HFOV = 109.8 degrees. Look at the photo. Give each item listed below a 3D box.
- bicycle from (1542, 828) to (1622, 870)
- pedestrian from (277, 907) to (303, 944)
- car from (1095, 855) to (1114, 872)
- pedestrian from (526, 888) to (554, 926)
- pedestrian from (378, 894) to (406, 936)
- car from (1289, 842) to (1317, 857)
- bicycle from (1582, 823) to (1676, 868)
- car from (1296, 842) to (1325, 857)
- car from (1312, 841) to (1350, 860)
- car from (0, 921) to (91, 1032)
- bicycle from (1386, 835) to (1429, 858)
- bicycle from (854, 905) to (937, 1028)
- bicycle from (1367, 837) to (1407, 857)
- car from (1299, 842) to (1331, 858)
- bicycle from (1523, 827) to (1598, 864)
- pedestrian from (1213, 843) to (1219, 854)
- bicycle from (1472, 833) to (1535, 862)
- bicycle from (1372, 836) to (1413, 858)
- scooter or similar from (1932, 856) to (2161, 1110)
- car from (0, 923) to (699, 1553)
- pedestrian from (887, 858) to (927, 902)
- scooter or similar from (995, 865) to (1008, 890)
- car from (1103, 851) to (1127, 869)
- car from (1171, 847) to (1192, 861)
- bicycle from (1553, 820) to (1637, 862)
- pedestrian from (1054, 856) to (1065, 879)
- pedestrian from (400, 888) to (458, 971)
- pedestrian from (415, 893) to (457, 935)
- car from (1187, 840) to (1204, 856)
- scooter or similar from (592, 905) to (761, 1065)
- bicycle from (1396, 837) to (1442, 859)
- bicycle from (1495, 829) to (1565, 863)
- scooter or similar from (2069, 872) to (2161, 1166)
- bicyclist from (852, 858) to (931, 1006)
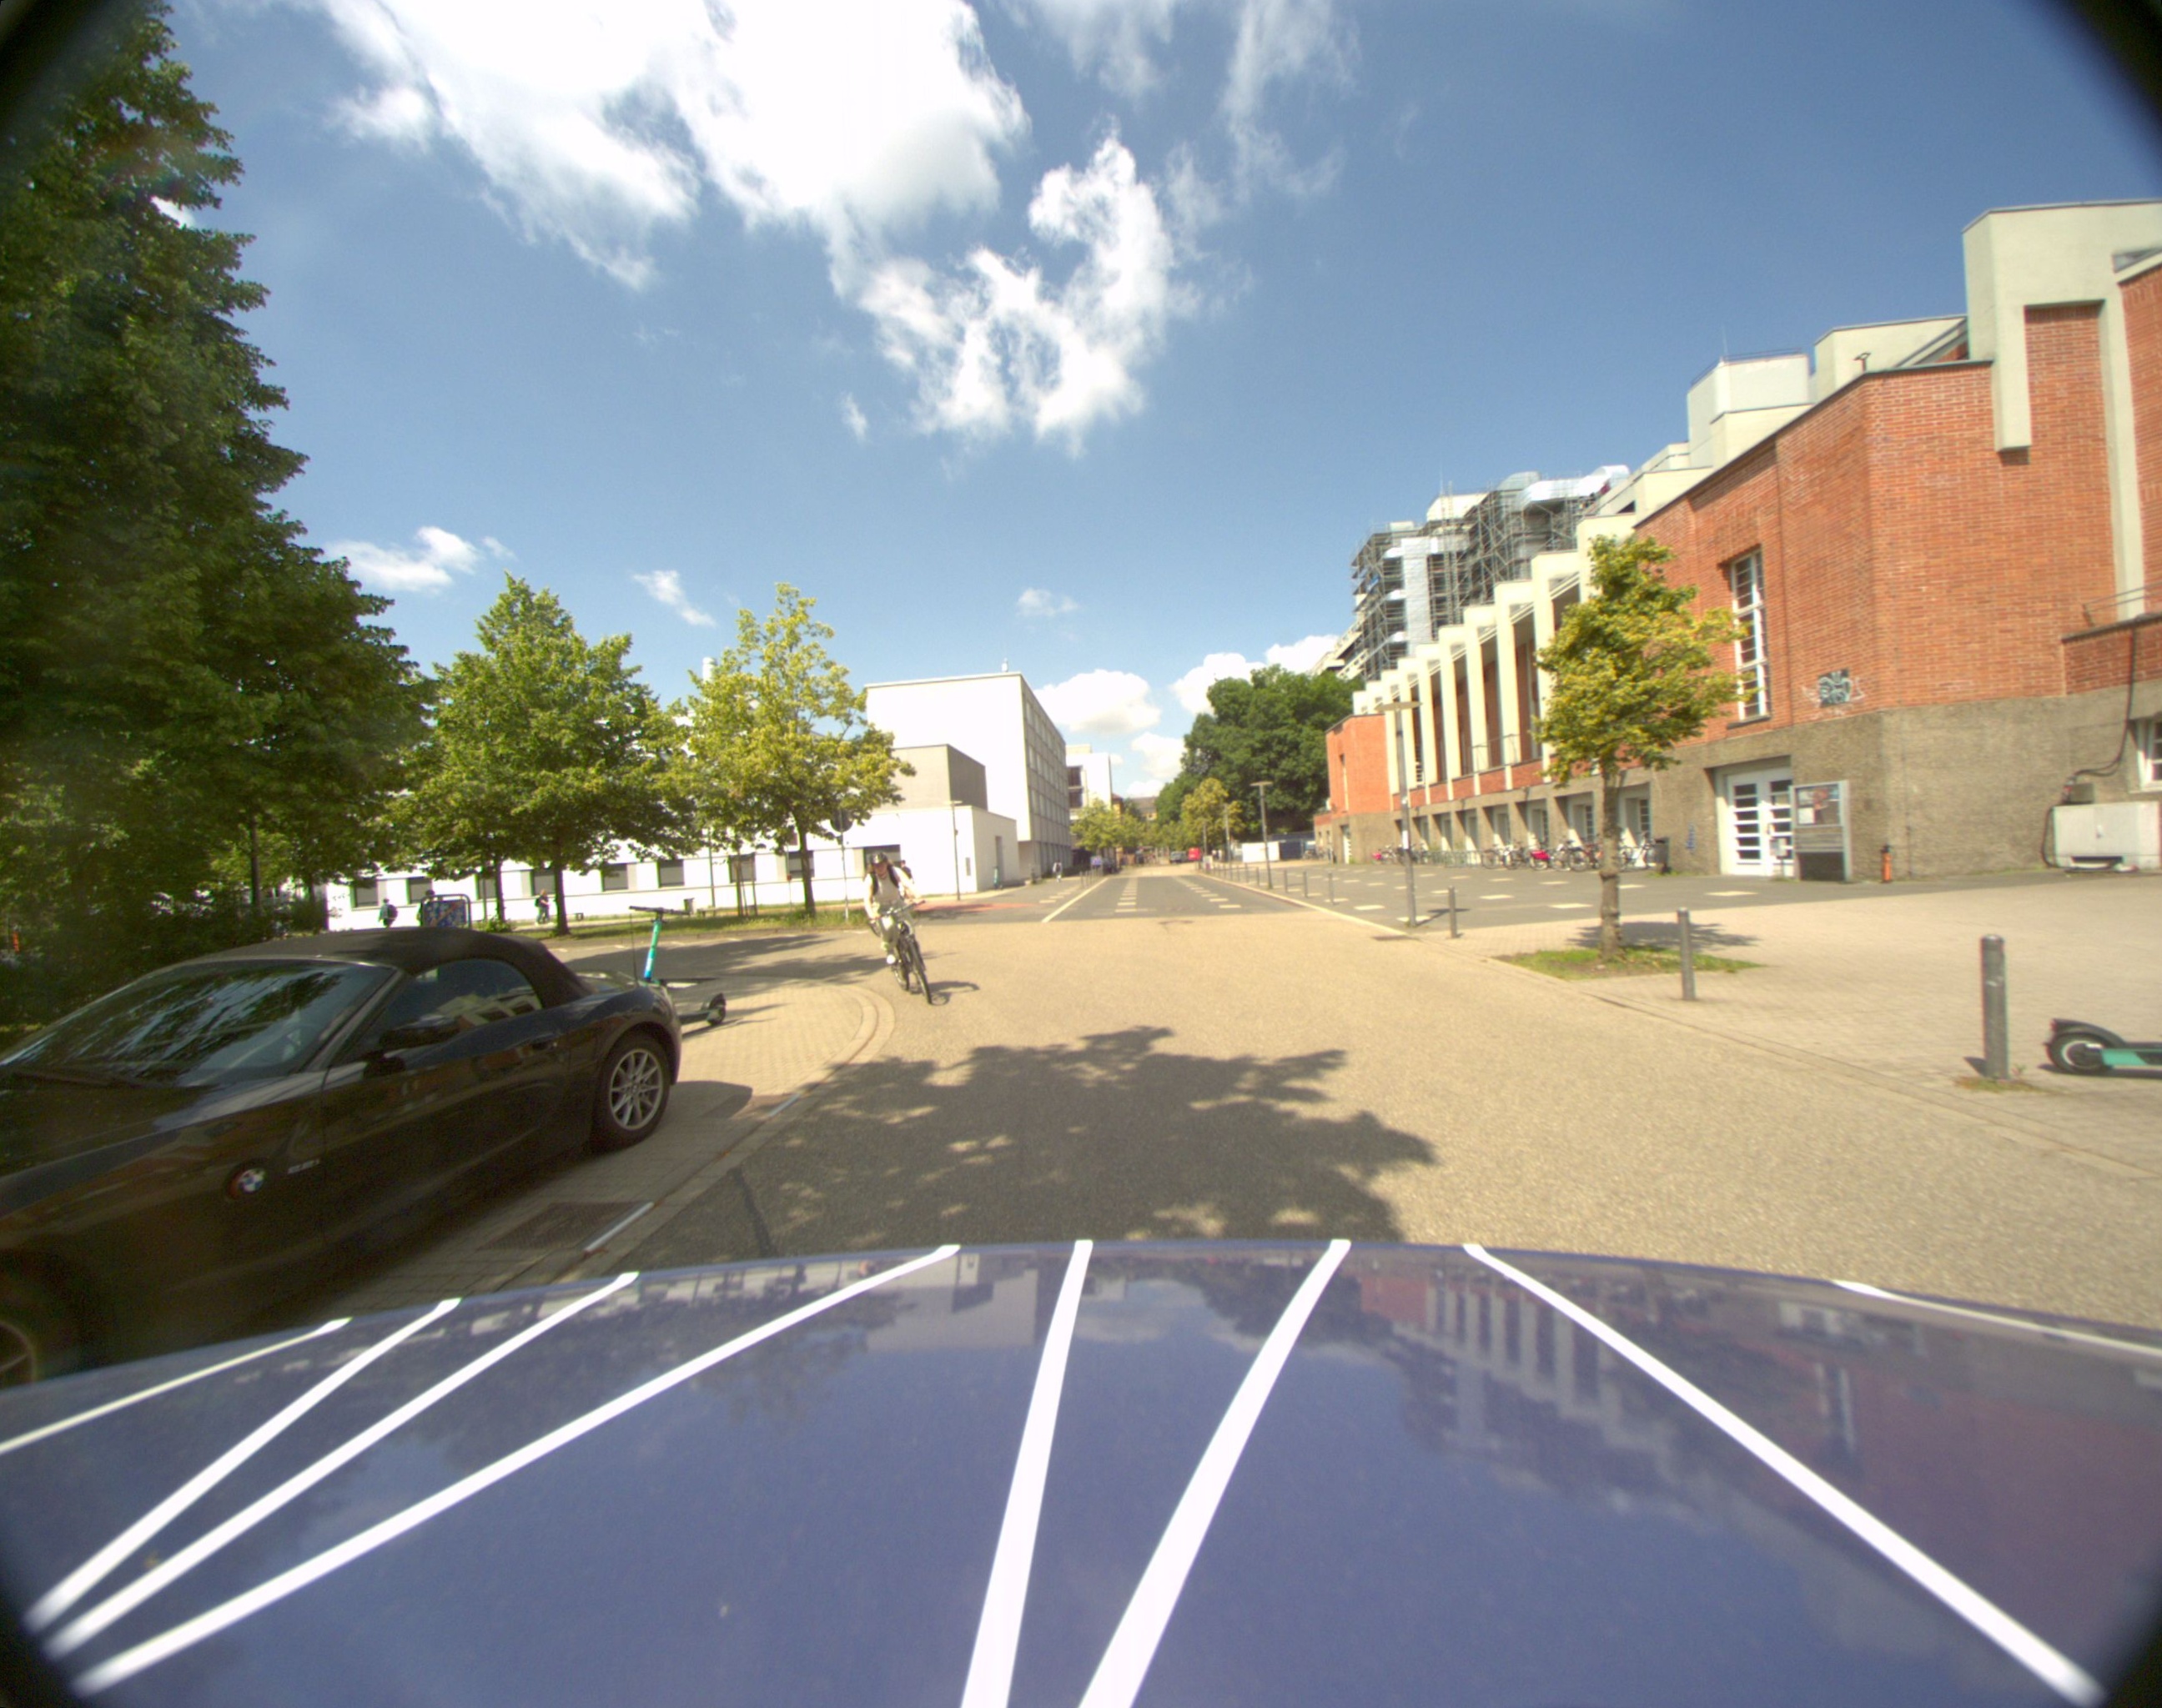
[{"bbox_3d":[15.715,-0.154,23.845,2.025,1.119,0.439,-6,0,8],"label":"bicycle"},{"bbox_3d":[-36.925,3.313,35.467,0.714,1.647,0.728,-4,1,45],"label":"pedestrian"},{"bbox_3d":[2.188,0.837,69.814,1.551,1.377,3.454,-4,0,3],"label":"car"},{"bbox_3d":[-25.429,2.499,35.710,0.724,1.678,0.629,-4,1,3],"label":"pedestrian"},{"bbox_3d":[-29.977,2.638,33.078,0.712,1.759,0.828,-5,1,-36],"label":"pedestrian"},{"bbox_3d":[20.006,-0.371,68.393,2.324,1.173,0.479,-4,1,6],"label":"car"},{"bbox_3d":[15.306,-0.235,21.255,2.026,1.119,0.667,-4,0,3],"label":"bicycle"},{"bbox_3d":[19.925,-0.378,65.937,2.288,1.173,0.524,-4,1,6],"label":"car"},{"bbox_3d":[18.519,-0.248,56.306,2.527,1.173,0.632,-4,1,6],"label":"car"},{"bbox_3d":[-17.696,1.985,10.590,1.893,1.642,4.364,-4,-1,3],"label":"car"},{"bbox_3d":[17.026,-0.384,39.600,1.955,1.024,0.530,-4,1,3],"label":"bicycle"},{"bbox_3d":[-2.158,1.185,8.643,0.676,1.066,2.133,-5,0,-18],"label":"bicycle"},{"bbox_3d":[17.269,-0.401,42.935,1.955,1.024,0.542,-4,1,3],"label":"bicycle"},{"bbox_3d":[19.654,-0.375,63.907,2.367,1.173,0.794,-4,0,6],"label":"car"},{"bbox_3d":[16.003,-0.278,25.396,2.014,1.076,0.622,-4,1,3],"label":"bicycle"},{"bbox_3d":[17.891,-0.725,100.782,0.642,1.529,0.453,-4,1,16],"label":"pedestrian"},{"bbox_3d":[16.090,-0.232,28.994,1.955,0.954,0.685,-4,0,3],"label":"bicycle"},{"bbox_3d":[17.198,-0.389,41.970,1.955,1.024,0.519,-4,1,3],"label":"bicycle"},{"bbox_3d":[5.626,0.635,3.878,1.571,1.218,0.571,-4,1,32],"label":"scooter or similar"},{"bbox_3d":[-3.465,1.137,2.800,1.711,1.273,4.001,-4,0,6],"label":"car"},{"bbox_3d":[-7.226,1.079,31.532,1.168,1.789,1.023,-2,0,33],"label":"pedestrian"},{"bbox_3d":[-4.069,1.184,38.755,0.326,1.228,1.074,-4,0,7],"label":"scooter or similar"},{"bbox_3d":[3.521,0.588,78.032,1.938,1.671,3.471,-4,0,9],"label":"car"},{"bbox_3d":[16.483,-0.030,124.341,2.023,2.079,4.439,-4,0,25],"label":"car"},{"bbox_3d":[15.640,-0.376,23.137,2.026,1.119,0.593,-4,1,5],"label":"bicycle"},{"bbox_3d":[-1.375,0.890,49.605,0.525,1.430,0.701,-4,1,7],"label":"pedestrian"},{"bbox_3d":[-14.412,1.650,16.811,0.582,1.735,0.642,-4,1,7],"label":"pedestrian"},{"bbox_3d":[-28.674,2.660,33.807,1.093,1.765,0.795,-4,1,9],"label":"pedestrian"},{"bbox_3d":[14.779,-0.732,97.940,1.911,1.870,4.003,-4,0,11],"label":"car"},{"bbox_3d":[-3.775,1.179,7.224,0.553,1.247,1.383,-4,1,13],"label":"scooter or similar"},{"bbox_3d":[16.970,-0.304,38.168,1.955,0.935,0.569,-4,0,3],"label":"bicycle"},{"bbox_3d":[16.088,-0.290,27.234,2.026,1.055,0.663,-4,0,3],"label":"bicycle"},{"bbox_3d":[5.411,0.674,3.085,1.571,1.218,0.566,-4,1,32],"label":"scooter or similar"},{"bbox_3d":[-2.131,0.813,8.468,0.676,1.470,1.061,-5,2,-17],"label":"bicyclist"}]
